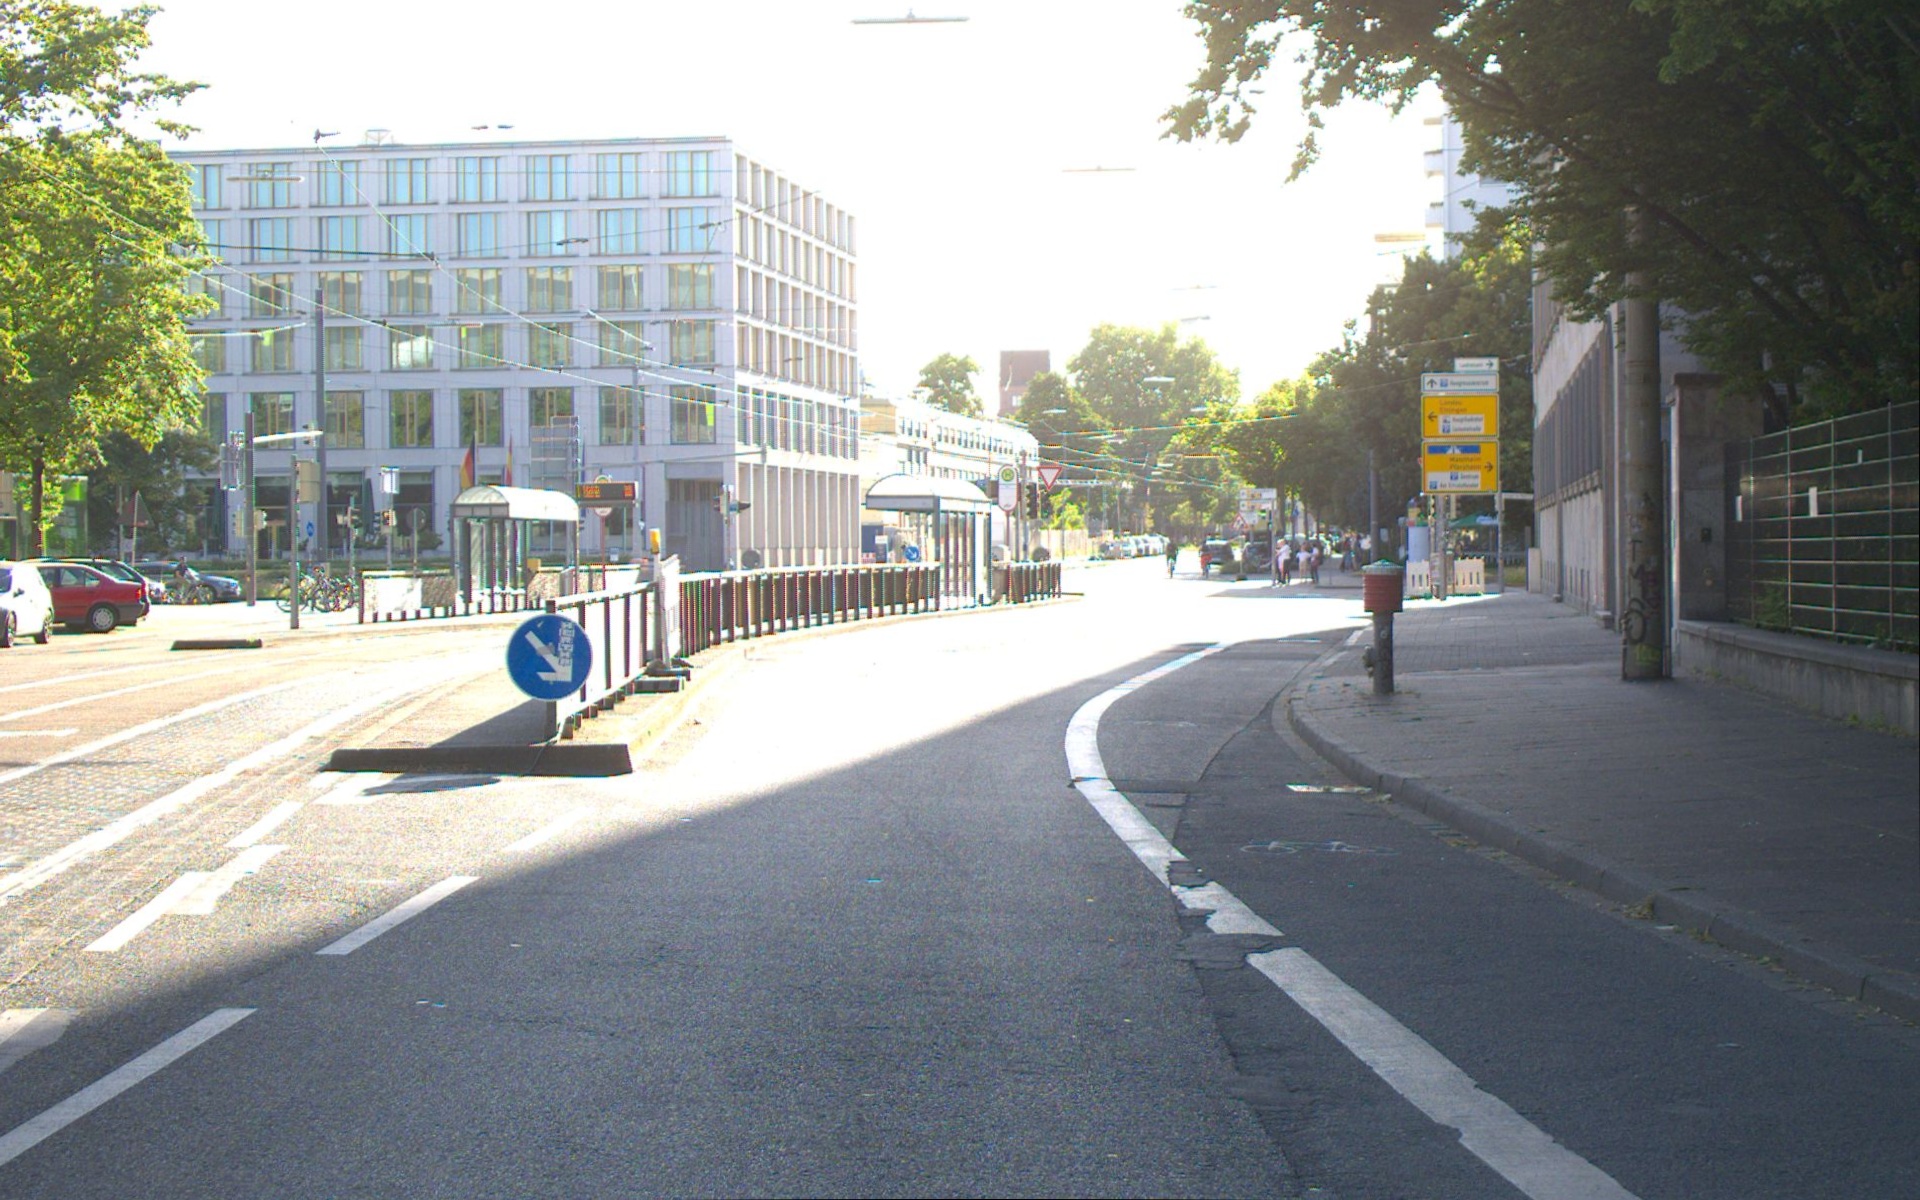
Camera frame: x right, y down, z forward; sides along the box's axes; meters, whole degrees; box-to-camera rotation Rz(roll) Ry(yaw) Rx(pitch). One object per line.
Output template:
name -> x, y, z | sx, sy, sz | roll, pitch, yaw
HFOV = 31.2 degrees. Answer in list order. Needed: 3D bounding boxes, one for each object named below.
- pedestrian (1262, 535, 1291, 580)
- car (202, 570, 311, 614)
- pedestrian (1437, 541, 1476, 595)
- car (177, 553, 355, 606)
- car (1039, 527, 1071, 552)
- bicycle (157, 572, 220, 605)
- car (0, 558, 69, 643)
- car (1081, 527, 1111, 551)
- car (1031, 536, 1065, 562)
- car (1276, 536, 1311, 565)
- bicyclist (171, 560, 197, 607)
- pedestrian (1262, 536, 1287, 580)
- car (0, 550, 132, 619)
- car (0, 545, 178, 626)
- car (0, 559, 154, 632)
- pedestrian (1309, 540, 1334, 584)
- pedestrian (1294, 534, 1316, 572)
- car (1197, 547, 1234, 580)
pedestrian -> 12.698, -1.713, 137.906 | 0.966, 1.778, 0.780 | -1, 1, -7
car -> -25.126, -0.289, 122.817 | 3.531, 1.501, 1.522 | 1, 1, 7
pedestrian -> 15.955, -1.034, 110.511 | 1.039, 1.715, 1.035 | -1, 1, -3
car -> -18.985, -0.543, 94.043 | 4.499, 1.346, 1.590 | 1, 0, -24
car -> 6.659, -4.190, 240.134 | 1.820, 1.706, 3.804 | 0, 1, 8
bicycle -> -26.247, -0.387, 116.952 | 1.924, 1.118, 0.789 | 0, 1, 14
car -> -17.075, -0.032, 60.465 | 1.706, 1.405, 4.292 | 2, 1, 0
car -> 9.961, -4.472, 251.459 | 1.820, 1.706, 3.804 | 0, 1, 8
car -> 5.882, -3.371, 229.137 | 1.820, 1.706, 3.804 | 0, 1, 8
car -> 17.875, -2.649, 184.158 | 1.685, 1.495, 3.507 | 2, 0, 8
bicyclist -> -26.401, -0.563, 116.949 | 0.619, 1.577, 0.594 | 0, 1, 15
pedestrian -> 12.856, -1.713, 140.347 | 0.847, 1.778, 0.780 | -1, 1, -7
car -> -21.968, -0.369, 81.053 | 4.499, 1.564, 1.590 | 1, 0, -24
car -> -19.031, -0.309, 72.924 | 4.501, 1.636, 1.590 | 1, 0, -37
car -> -18.957, -0.101, 70.258 | 4.500, 1.421, 1.873 | 1, 0, -26
pedestrian -> 14.575, -1.546, 138.702 | 0.847, 1.778, 0.780 | -1, 1, -7
pedestrian -> 14.077, -1.913, 140.316 | 0.762, 1.553, 0.588 | -1, 1, -7
car -> 13.958, -1.976, 187.795 | 1.685, 1.731, 3.507 | 2, 0, 8
